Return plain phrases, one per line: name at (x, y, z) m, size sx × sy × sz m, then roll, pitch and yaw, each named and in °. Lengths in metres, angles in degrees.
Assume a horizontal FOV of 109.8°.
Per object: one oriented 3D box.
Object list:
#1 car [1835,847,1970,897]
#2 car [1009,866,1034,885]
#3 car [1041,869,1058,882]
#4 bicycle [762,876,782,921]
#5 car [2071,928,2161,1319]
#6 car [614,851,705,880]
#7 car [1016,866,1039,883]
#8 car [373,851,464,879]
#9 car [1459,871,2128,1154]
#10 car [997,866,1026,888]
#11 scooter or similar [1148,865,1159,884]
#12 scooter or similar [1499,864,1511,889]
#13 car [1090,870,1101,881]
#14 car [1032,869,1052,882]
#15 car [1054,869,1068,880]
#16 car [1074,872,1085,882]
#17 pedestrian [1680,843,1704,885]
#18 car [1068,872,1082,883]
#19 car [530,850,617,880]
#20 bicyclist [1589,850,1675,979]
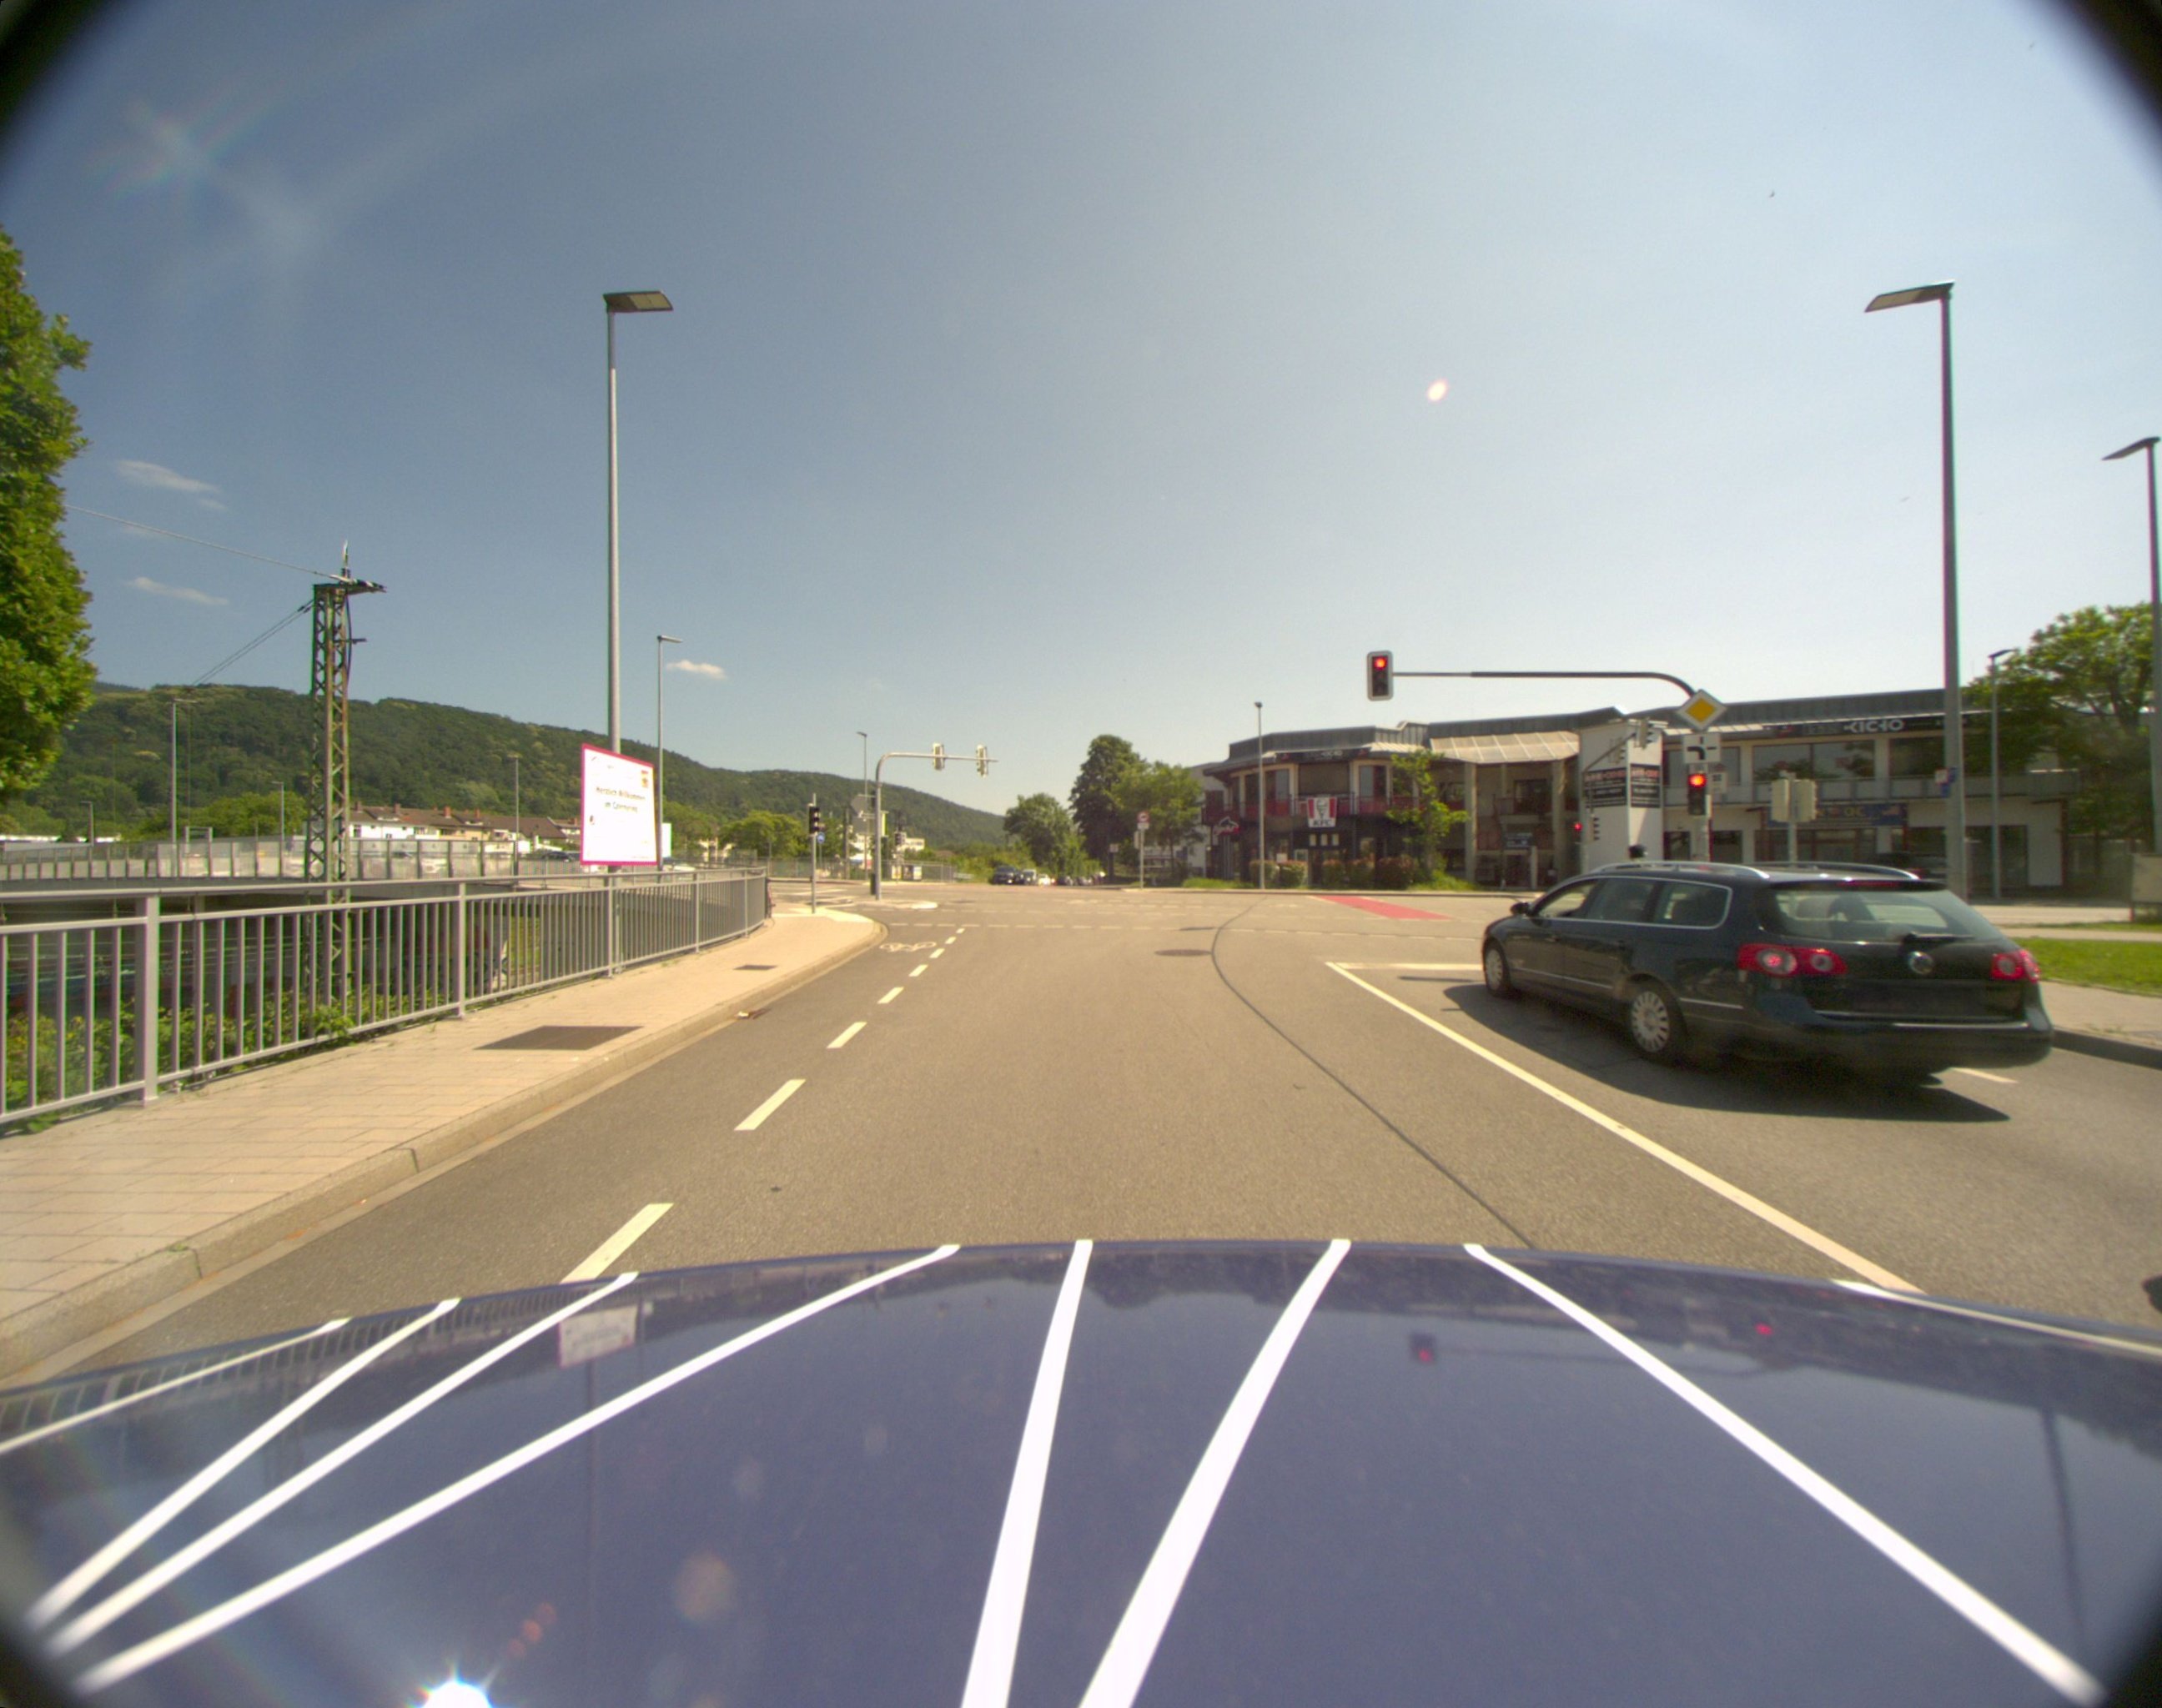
car at (33.040, 0.677, 30.755) m, size 1.804 × 1.844 × 4.666 m, roll 0°, pitch 0°, yaw 20°
car at (-5.143, 1.866, 66.469) m, size 1.671 × 1.523 × 4.001 m, roll 0°, pitch 0°, yaw 3°
car at (-3.659, 2.526, 89.513) m, size 1.671 × 1.523 × 4.001 m, roll 0°, pitch 0°, yaw 3°
bicycle at (-8.120, 1.143, 19.962) m, size 0.298 × 1.094 × 1.616 m, roll 0°, pitch 0°, yaw -29°
car at (4.548, 0.960, 0.920) m, size 1.659 × 1.372 × 4.002 m, roll 0°, pitch 0°, yaw 4°
car at (-22.134, 0.594, 39.882) m, size 4.400 × 1.461 × 1.739 m, roll 0°, pitch 0°, yaw 21°
car at (-4.988, 1.902, 71.561) m, size 1.671 × 1.523 × 4.001 m, roll 0°, pitch 0°, yaw 3°
car at (-39.763, 0.647, 45.612) m, size 4.435 × 1.617 × 1.738 m, roll 0°, pitch 0°, yaw 11°
car at (5.135, 0.928, 6.626) m, size 1.783 × 1.487 × 4.725 m, roll 0°, pitch 0°, yaw 6°
car at (-5.584, 1.830, 61.387) m, size 1.829 × 1.617 × 4.237 m, roll 0°, pitch 0°, yaw 2°
scooter or similar at (4.341, 1.249, 45.684) m, size 0.426 × 1.117 × 1.453 m, roll 0°, pitch 0°, yaw 15°
scooter or similar at (19.860, 1.045, 35.593) m, size 0.499 × 1.117 × 1.507 m, roll 0°, pitch 0°, yaw 29°
car at (2.657, 3.964, 140.089) m, size 1.671 × 1.718 × 4.001 m, roll -4°, pitch 0°, yaw 4°
car at (-4.187, 2.349, 82.097) m, size 1.671 × 1.309 × 4.001 m, roll 0°, pitch 0°, yaw 3°
car at (-2.763, 2.844, 106.960) m, size 1.671 × 1.427 × 4.001 m, roll 0°, pitch 0°, yaw 3°
car at (-0.245, 3.798, 123.436) m, size 1.671 × 1.523 × 4.001 m, roll 0°, pitch 0°, yaw 3°
pedestrian at (24.625, 0.400, 30.601) m, size 0.731 × 1.636 × 0.844 m, roll 0°, pitch 0°, yaw 41°
car at (-0.930, 3.586, 117.713) m, size 1.671 × 1.523 × 4.001 m, roll -4°, pitch 0°, yaw 4°
car at (-28.325, 0.616, 42.415) m, size 4.432 × 1.617 × 1.739 m, roll 0°, pitch 0°, yaw 21°
bicyclist at (7.902, 0.834, 10.929) m, size 0.711 × 1.778 × 0.809 m, roll 0°, pitch 0°, yaw 10°
